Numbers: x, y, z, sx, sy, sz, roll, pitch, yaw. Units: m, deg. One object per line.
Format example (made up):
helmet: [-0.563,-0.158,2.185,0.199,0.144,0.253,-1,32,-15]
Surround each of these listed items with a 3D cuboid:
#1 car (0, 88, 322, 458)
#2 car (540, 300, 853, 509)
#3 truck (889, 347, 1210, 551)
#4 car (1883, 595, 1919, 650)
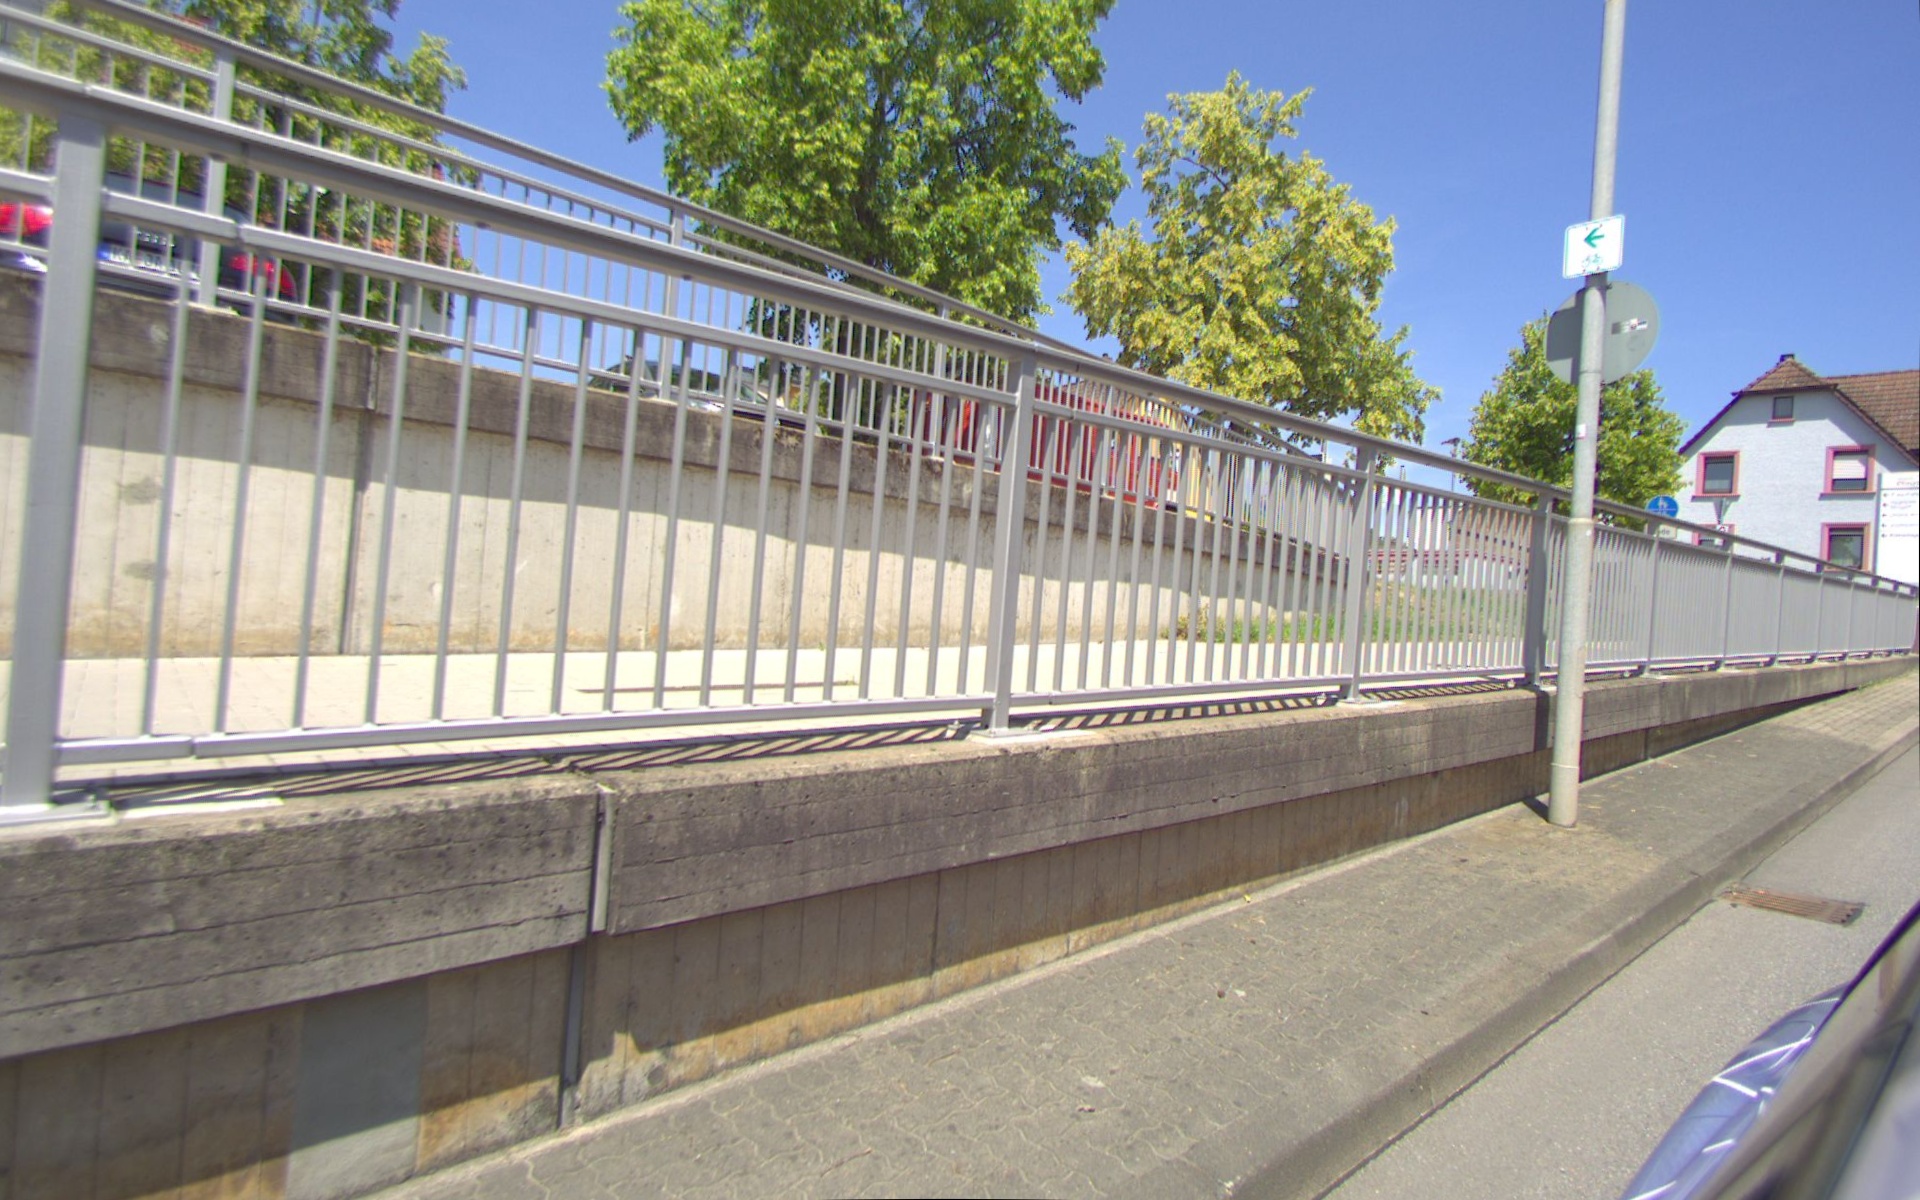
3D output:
car: [-6.107,-2.097,7.620,1.655,1.517,4.215,4,0,-39]
car: [-3.014,-1.909,10.986,1.716,1.517,3.997,4,0,-39]
truck: [1.601,-2.200,16.416,5.167,2.364,2.136,4,-1,-41]
car: [28.218,0.749,28.129,3.672,1.497,1.747,5,2,44]
